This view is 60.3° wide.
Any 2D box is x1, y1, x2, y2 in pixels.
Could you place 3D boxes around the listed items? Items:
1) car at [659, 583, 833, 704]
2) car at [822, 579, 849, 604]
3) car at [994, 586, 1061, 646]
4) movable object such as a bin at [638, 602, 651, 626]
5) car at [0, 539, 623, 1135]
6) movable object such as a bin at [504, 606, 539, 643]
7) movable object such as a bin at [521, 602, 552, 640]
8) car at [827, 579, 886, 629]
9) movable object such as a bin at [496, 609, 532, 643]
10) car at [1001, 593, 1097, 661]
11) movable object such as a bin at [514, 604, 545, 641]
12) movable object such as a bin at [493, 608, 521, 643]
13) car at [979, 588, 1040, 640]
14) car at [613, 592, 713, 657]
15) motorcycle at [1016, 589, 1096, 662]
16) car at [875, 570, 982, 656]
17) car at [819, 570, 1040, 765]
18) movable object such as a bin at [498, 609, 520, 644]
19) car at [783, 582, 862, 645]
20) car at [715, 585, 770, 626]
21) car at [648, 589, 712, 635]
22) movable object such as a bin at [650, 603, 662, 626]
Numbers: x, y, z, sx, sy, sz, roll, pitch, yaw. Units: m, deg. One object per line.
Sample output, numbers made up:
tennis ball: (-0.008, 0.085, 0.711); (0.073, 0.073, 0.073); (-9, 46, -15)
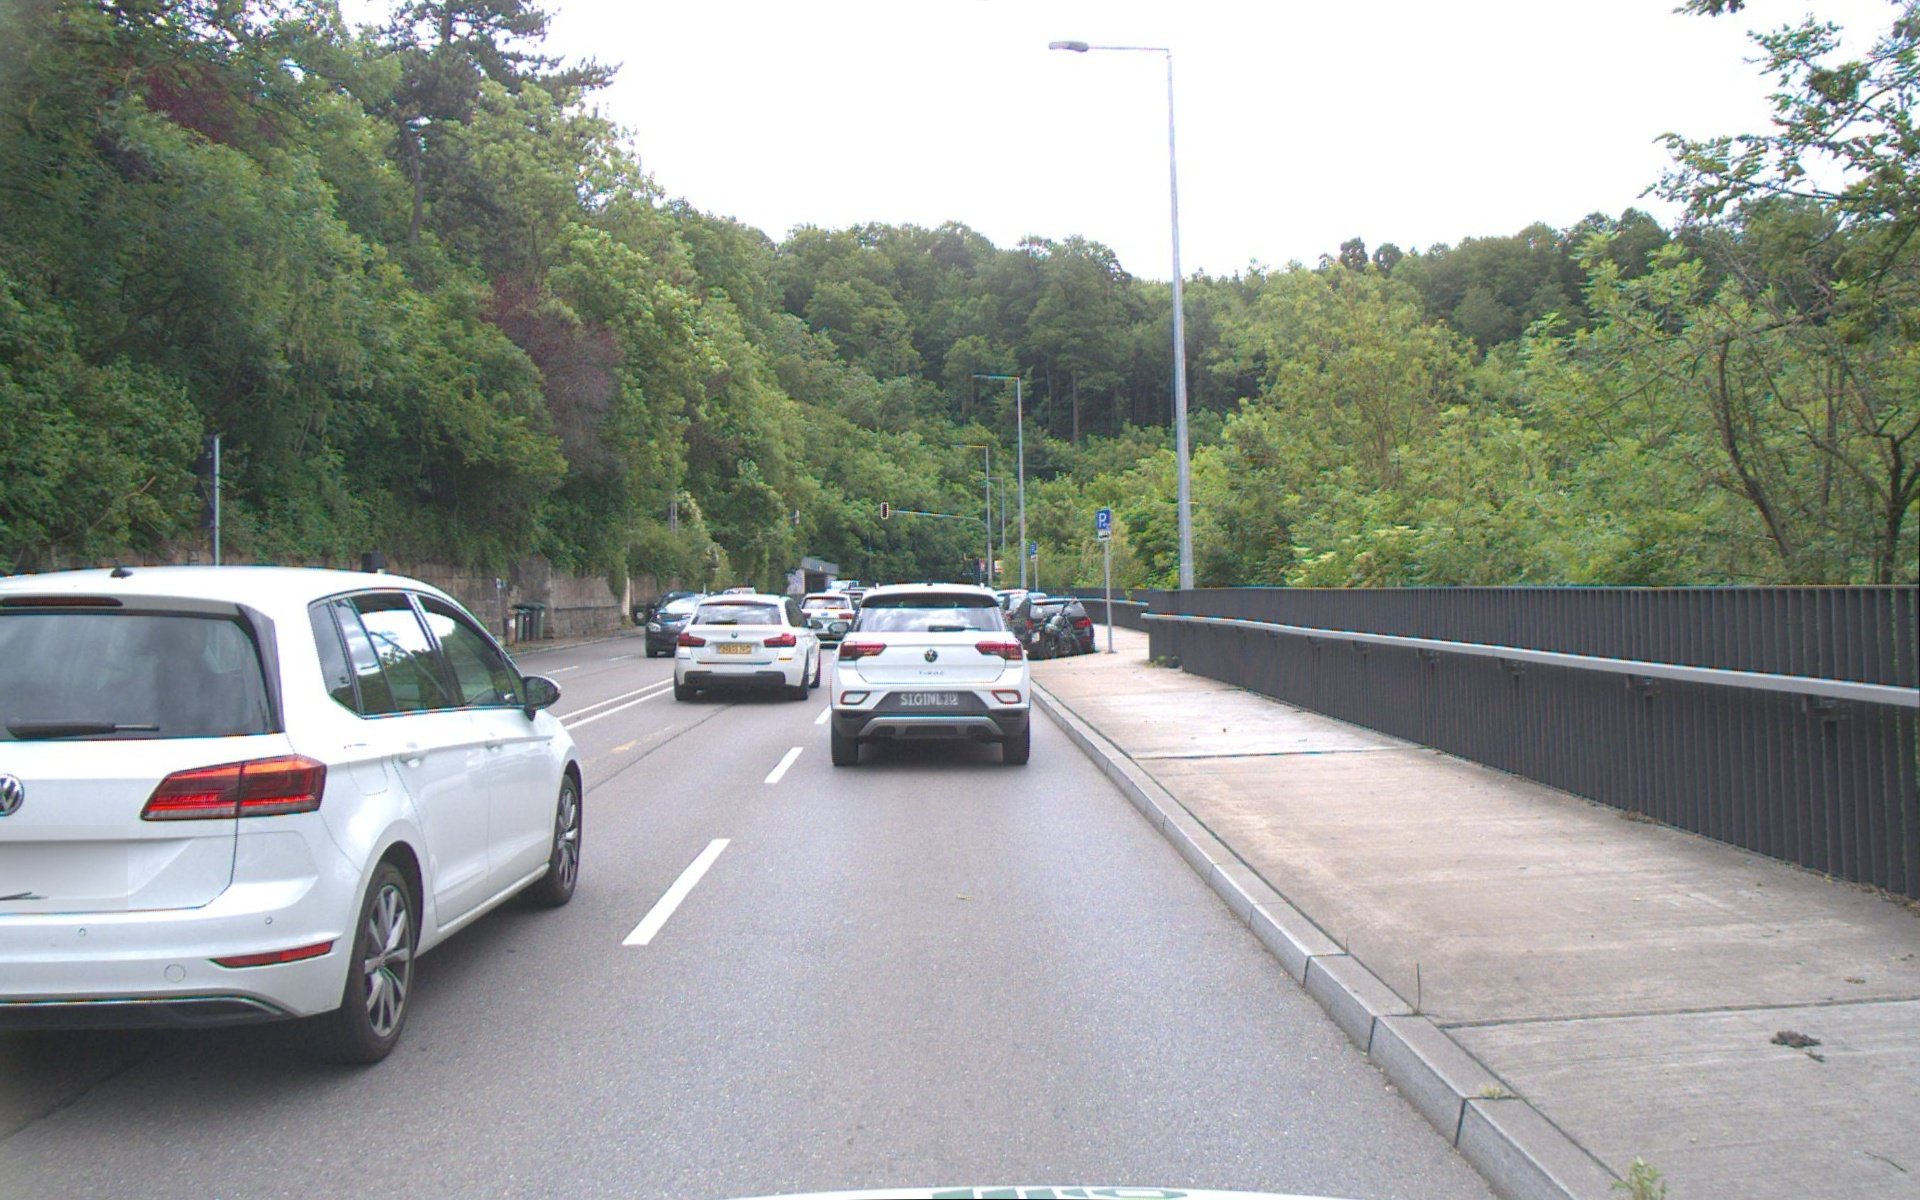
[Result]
car: (-3.017, 0.566, 24.274); (1.953, 1.585, 4.681); (1, 0, 0)
car: (-10.276, -0.693, 136.367); (1.882, 2.040, 5.355); (0, 0, -1)
car: (1.935, 0.436, 48.648); (1.626, 1.599, 4.254); (-3, 0, -1)
movable object such as a bin: (-13.327, 0.595, 69.805); (0.468, 0.988, 0.367); (1, 0, -6)
car: (-2.583, 0.616, 6.522); (1.685, 1.581, 4.275); (0, 0, -1)
movable object such as a bin: (-12.778, 0.712, 48.175); (0.881, 1.052, 0.621); (0, 0, -5)
movable object such as a bin: (-12.713, 0.630, 49.650); (0.772, 1.089, 0.708); (0, 1, -5)
car: (-3.793, 0.137, 61.179); (1.953, 1.771, 3.999); (0, 0, -1)
movable object such as a bin: (-12.816, 0.734, 47.523); (0.898, 0.962, 0.593); (0, 0, -5)
car: (2.046, 0.592, 39.146); (1.787, 1.425, 4.317); (-3, 0, -2)
movable object such as a bin: (-12.723, 0.665, 48.912); (0.757, 1.080, 0.717); (0, 0, -5)
movable object such as a bin: (-12.848, 0.721, 46.899); (0.660, 0.982, 0.543); (0, 0, -5)
car: (1.583, 0.437, 54.085); (1.692, 1.596, 4.623); (-2, 0, -1)
car: (-7.116, 0.559, 39.947); (1.819, 1.471, 4.293); (0, 0, -3)
motorcycle: (2.051, 0.519, 35.047); (0.754, 1.493, 2.502); (0, 0, 27)
car: (-0.676, 0.298, 38.876); (1.951, 1.875, 4.153); (1, 0, 6)
car: (-0.156, 0.573, 15.616); (1.776, 1.566, 4.010); (-1, -1, 3)
movable object such as a bin: (-12.578, 0.737, 46.166); (0.506, 0.982, 0.474); (0, 0, -5)
car: (-3.699, 0.369, 45.144); (1.824, 1.623, 3.999); (1, -1, -1)
car: (-9.549, 0.225, 72.992); (1.778, 1.727, 4.470); (0, 0, 0)
car: (-9.347, 0.389, 55.332); (1.551, 1.487, 3.523); (0, 0, 0)
movable object such as a bin: (-12.831, 0.617, 69.846); (0.469, 0.952, 0.365); (1, 0, -6)
